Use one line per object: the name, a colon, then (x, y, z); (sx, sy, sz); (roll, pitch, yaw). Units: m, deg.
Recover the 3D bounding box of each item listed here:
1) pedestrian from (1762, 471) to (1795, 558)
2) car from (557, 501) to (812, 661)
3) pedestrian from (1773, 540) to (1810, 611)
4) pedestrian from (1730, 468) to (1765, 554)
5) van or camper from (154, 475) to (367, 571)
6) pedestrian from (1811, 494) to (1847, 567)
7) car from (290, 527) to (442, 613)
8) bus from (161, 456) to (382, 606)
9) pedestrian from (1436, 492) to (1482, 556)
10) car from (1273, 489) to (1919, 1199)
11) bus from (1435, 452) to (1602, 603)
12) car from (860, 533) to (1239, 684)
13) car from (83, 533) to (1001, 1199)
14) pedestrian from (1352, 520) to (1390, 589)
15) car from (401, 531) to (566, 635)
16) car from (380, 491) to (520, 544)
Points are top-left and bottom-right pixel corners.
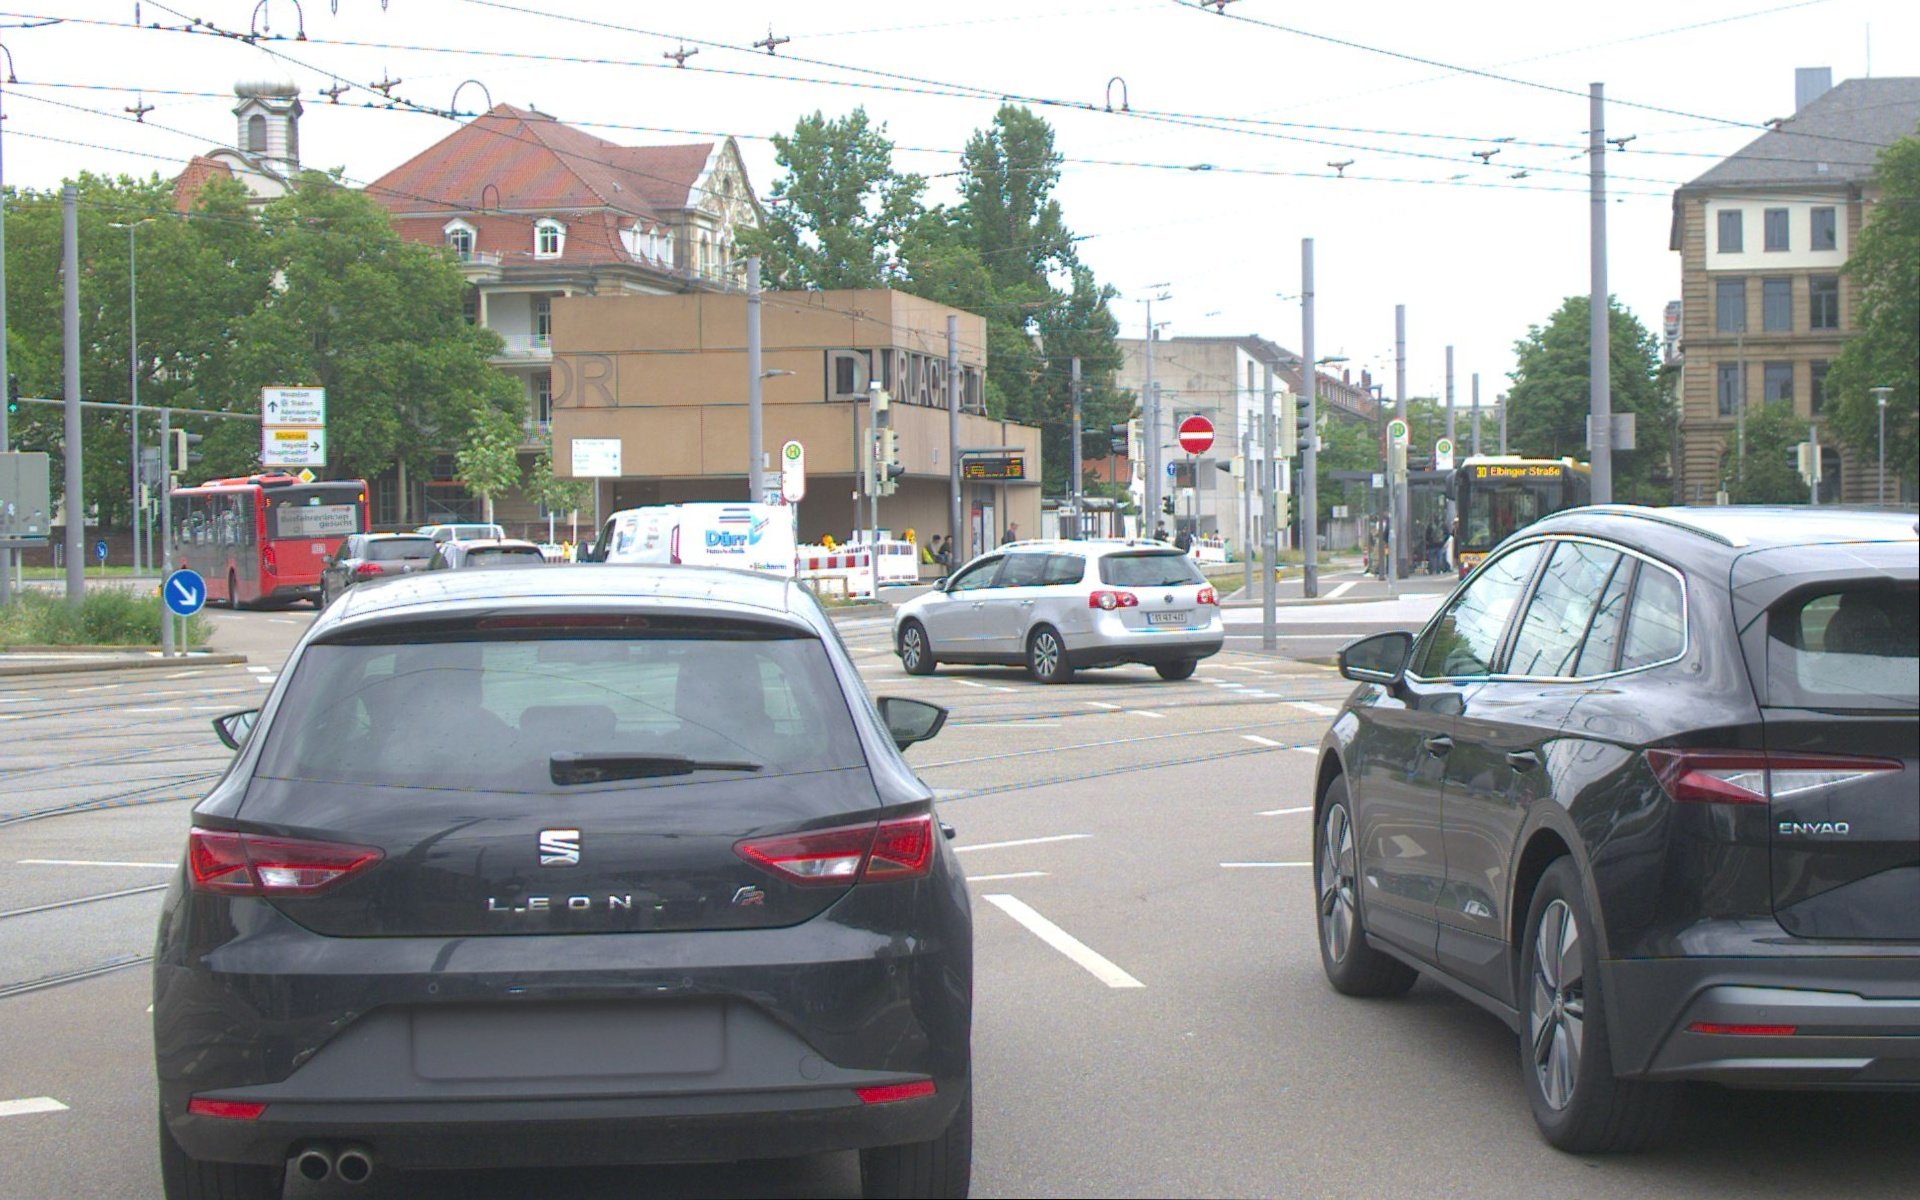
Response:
pedestrian: (40.269, -4.217, 169.237); (1.307, 4.239, 1.347); (-1, 1, 2)
car: (-3.789, -0.293, 46.335); (1.993, 2.012, 5.033); (-1, 1, -22)
pedestrian: (21.679, -0.629, 89.652); (0.824, 1.802, 1.020); (-2, -1, 17)
pedestrian: (38.827, -4.385, 169.465); (1.387, 4.239, 1.347); (-1, 1, 1)
van or camper: (-25.616, -2.848, 126.159); (7.133, 3.320, 2.875); (-2, 0, -44)
pedestrian: (22.365, -1.783, 88.447); (0.824, 1.847, 1.020); (-1, 1, 17)
car: (-11.308, -0.591, 65.234); (1.993, 1.560, 4.206); (-1, 1, -22)
bus: (-16.511, -1.608, 81.605); (3.057, 3.286, 12.383); (-1, 1, -21)
pedestrian: (12.921, -1.976, 88.984); (1.005, 1.639, 1.020); (-1, 1, 17)
car: (2.221, 0.531, 9.707); (1.903, 1.652, 4.516); (-1, 1, -5)
bus: (13.381, -1.743, 81.470); (3.018, 3.256, 13.035); (0, 1, 13)
car: (0.881, 0.053, 37.046); (1.720, 1.477, 4.628); (-3, 2, -33)
car: (-0.987, 0.570, 8.582); (1.745, 1.459, 4.001); (0, 1, -6)
pedestrian: (10.883, -1.203, 91.090); (0.824, 1.802, 1.020); (-1, 1, 17)
car: (-7.767, -0.304, 55.716); (1.857, 1.594, 4.206); (-1, 1, -19)
car: (-19.515, -3.169, 131.757); (4.991, 1.858, 1.999); (-2, -1, -43)
